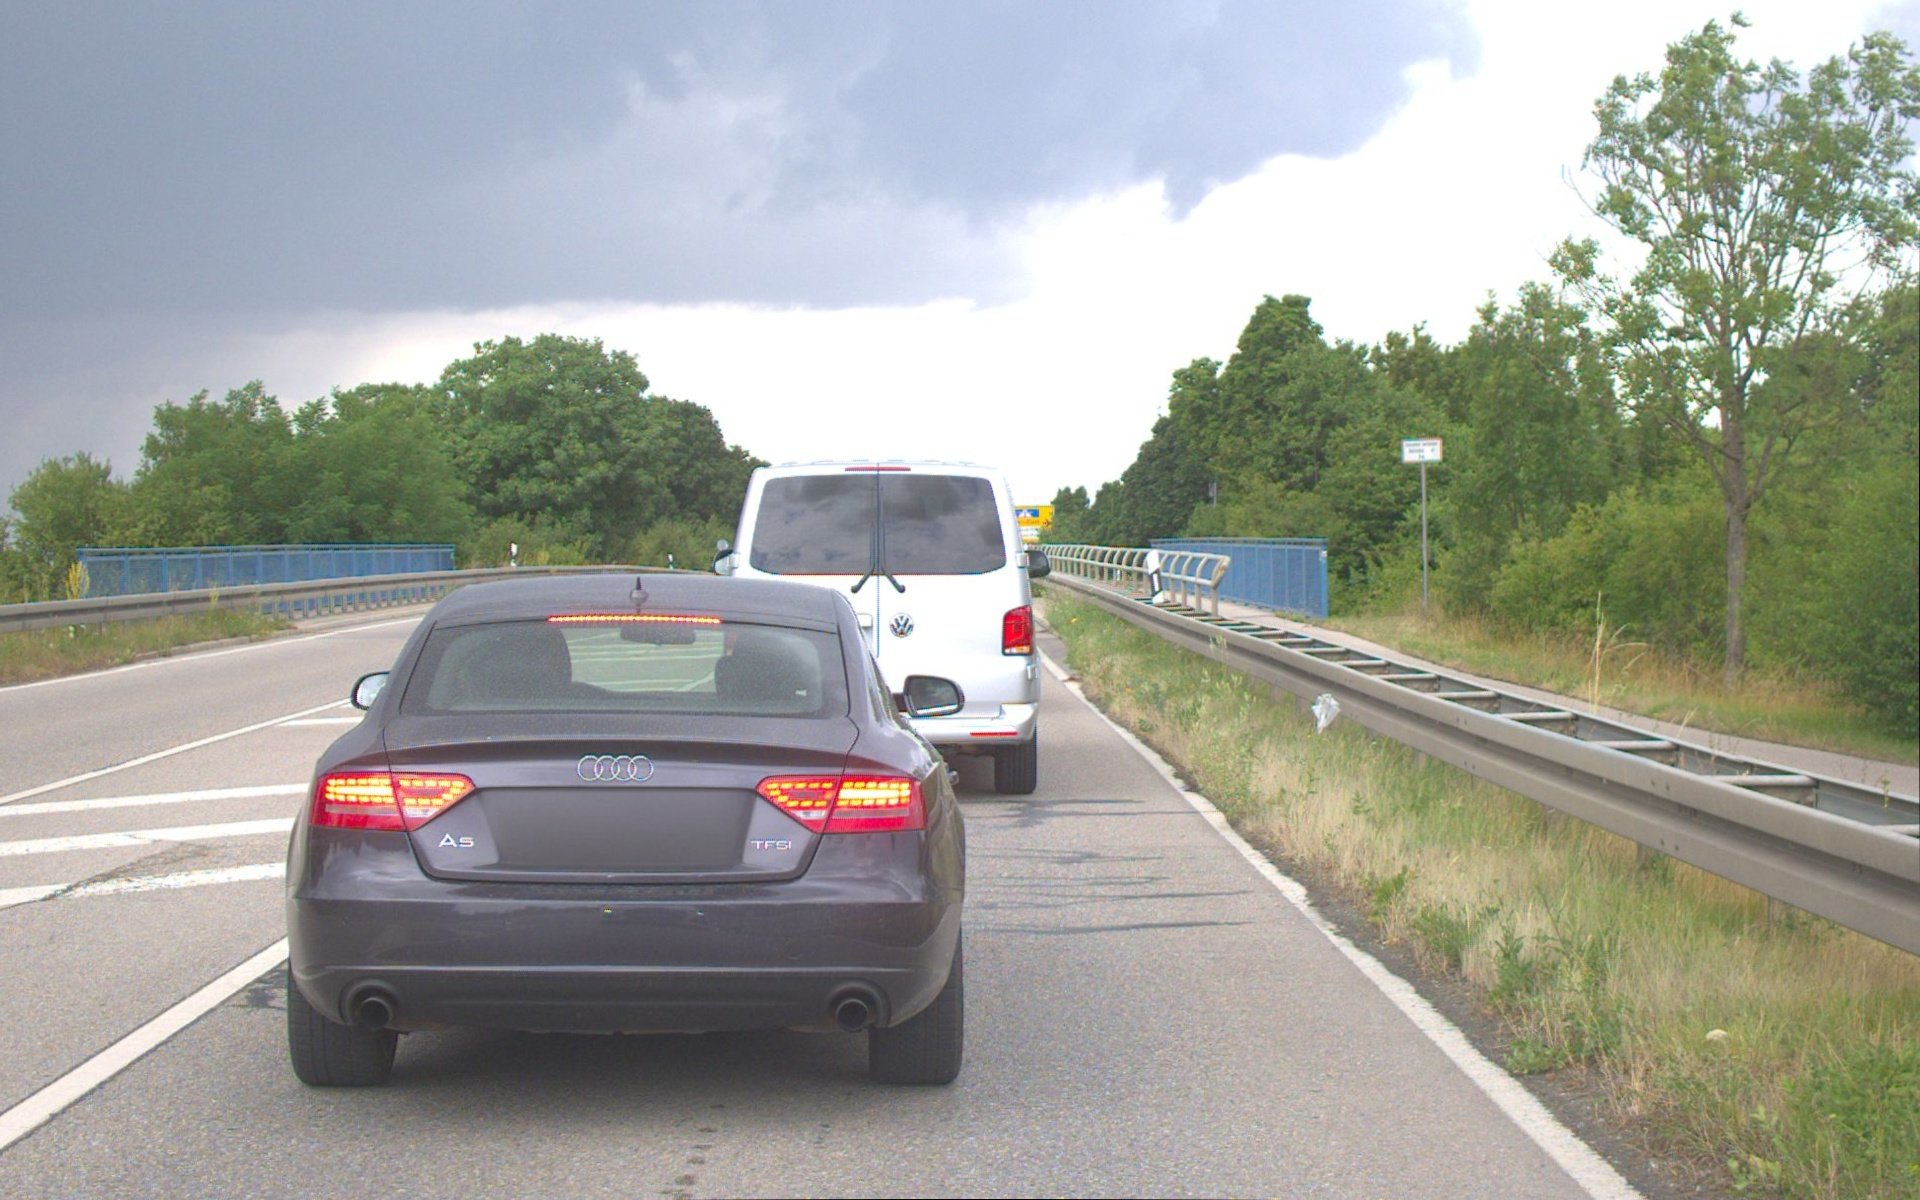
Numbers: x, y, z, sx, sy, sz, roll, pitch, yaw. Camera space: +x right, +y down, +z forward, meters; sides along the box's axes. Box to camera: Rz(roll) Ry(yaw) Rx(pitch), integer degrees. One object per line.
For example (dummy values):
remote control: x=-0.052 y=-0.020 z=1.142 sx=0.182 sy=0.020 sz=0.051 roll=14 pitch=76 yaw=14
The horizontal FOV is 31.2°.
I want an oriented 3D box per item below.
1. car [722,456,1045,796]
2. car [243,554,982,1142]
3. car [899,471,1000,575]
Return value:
car: x=-0.456 y=0.125 z=21.245 sx=1.785 sy=1.883 sz=4.000 roll=1 pitch=1 yaw=-1
car: x=-0.875 y=0.586 z=10.387 sx=1.785 sy=1.419 sz=4.000 roll=1 pitch=1 yaw=-1
car: x=-0.265 y=-1.937 z=86.387 sx=2.447 sy=2.495 sz=5.041 roll=1 pitch=1 yaw=0
